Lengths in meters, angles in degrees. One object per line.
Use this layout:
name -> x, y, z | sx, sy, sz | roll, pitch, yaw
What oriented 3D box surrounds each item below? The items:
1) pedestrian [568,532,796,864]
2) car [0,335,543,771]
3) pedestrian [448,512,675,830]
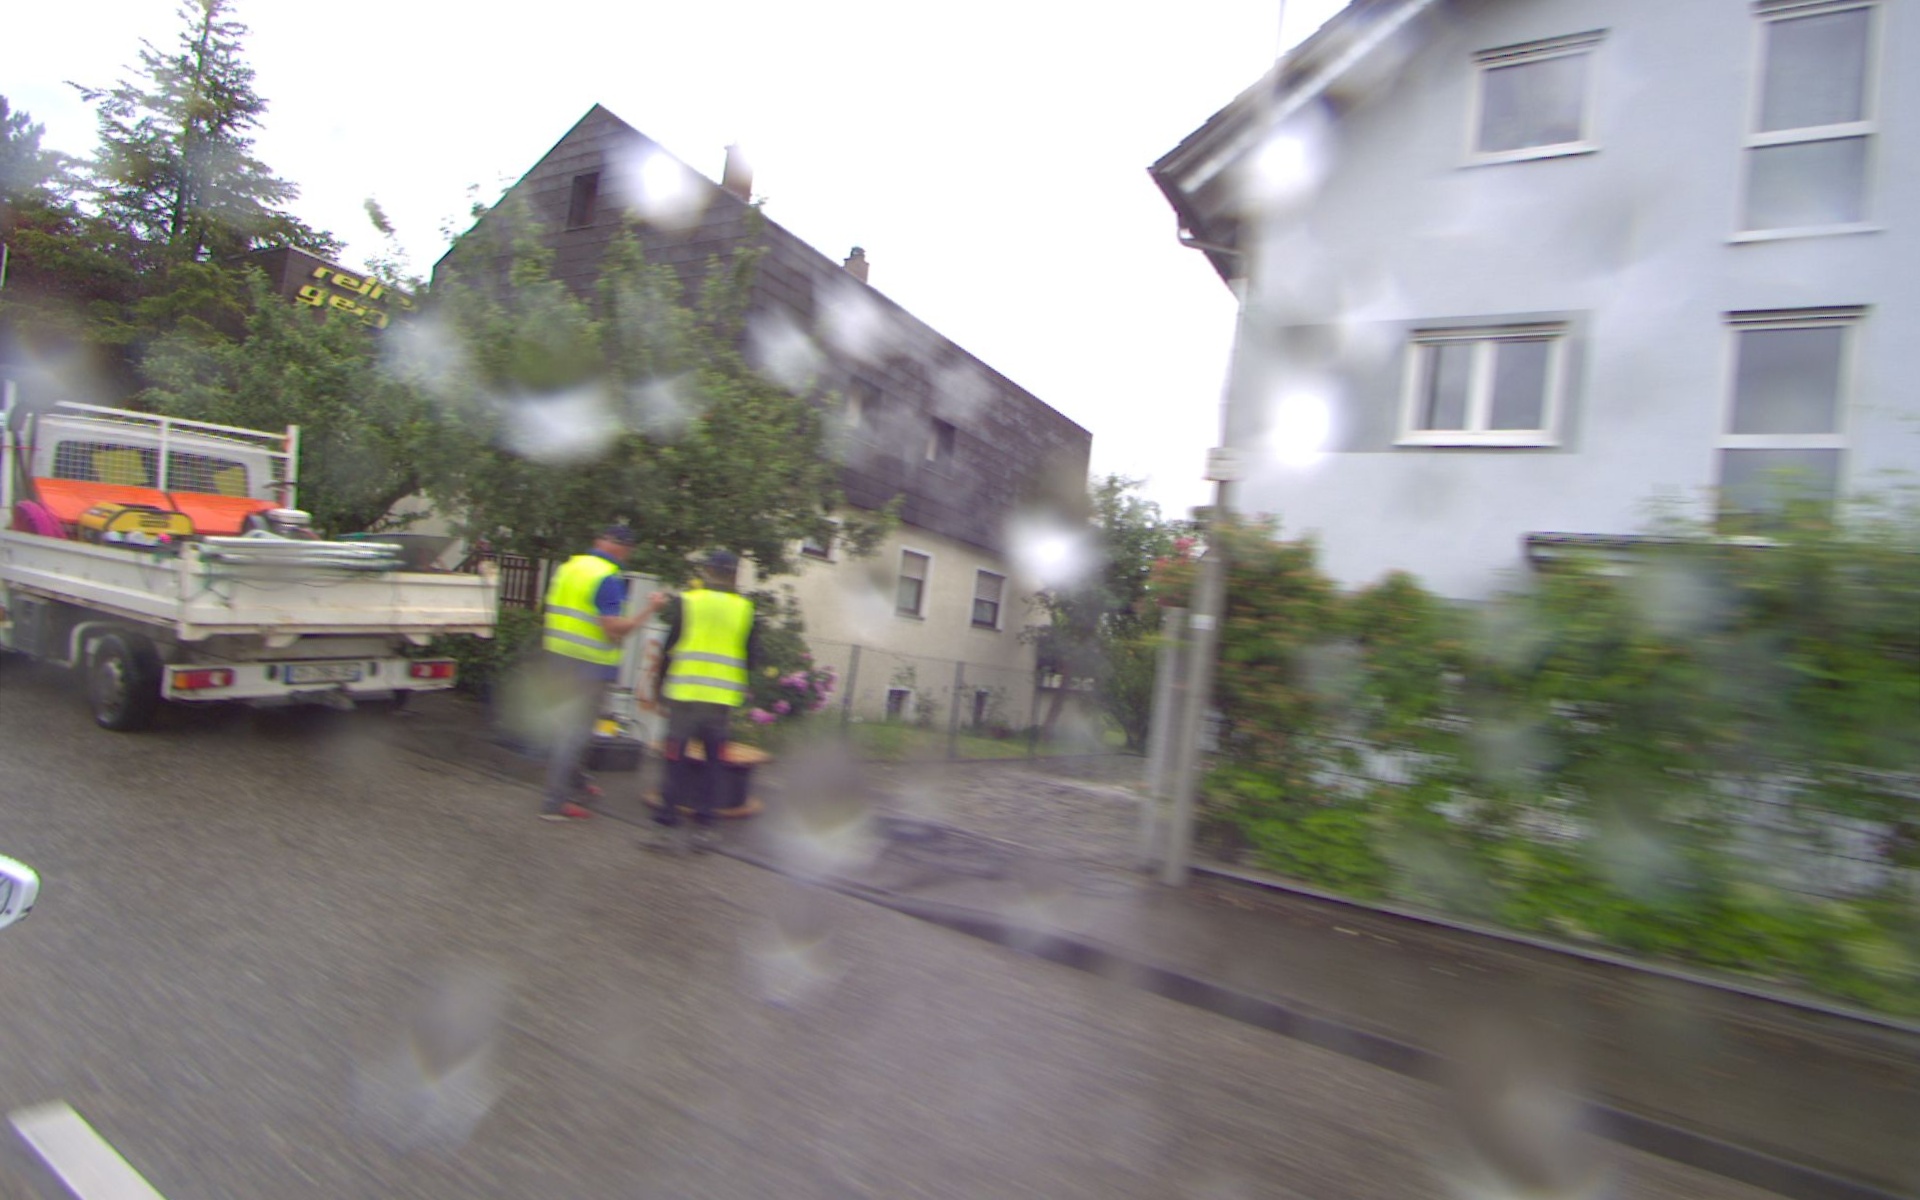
pedestrian -> -1.581, 0.522, 5.753 | 0.926, 1.685, 0.577 | 7, 1, 20
car -> -6.625, -0.481, 8.309 | 6.325, 2.461, 2.395 | 7, -1, 31
pedestrian -> -2.418, 0.404, 6.152 | 0.875, 1.729, 0.711 | 7, 1, 20
